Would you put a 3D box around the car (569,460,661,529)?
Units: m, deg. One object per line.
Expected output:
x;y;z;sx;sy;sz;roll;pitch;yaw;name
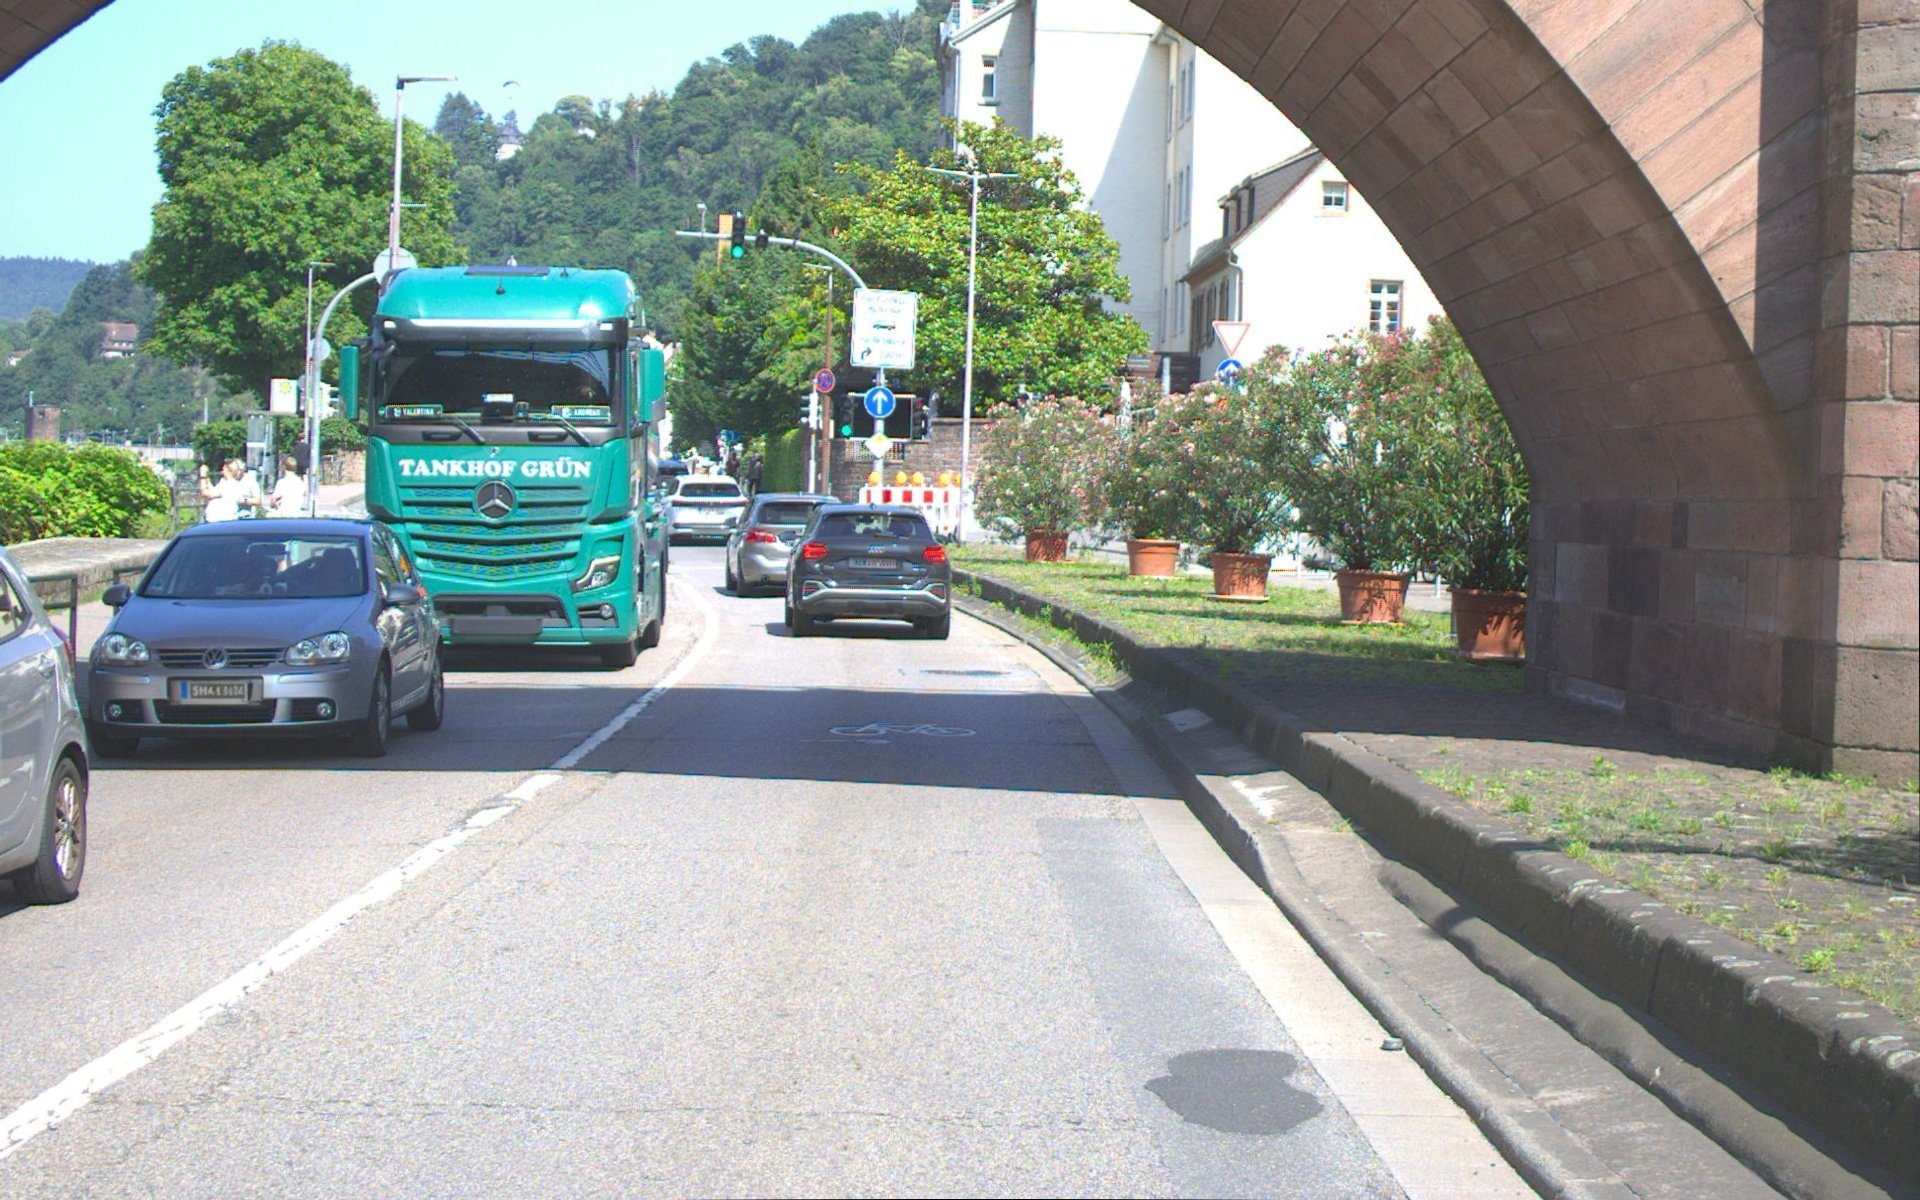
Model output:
-9.085;-2.752;90.217;1.993;1.656;4.001;2;0;-11;car

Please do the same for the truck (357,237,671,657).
-4.249;-1.490;33.867;2.523;3.735;6.247;0;2;-2;truck

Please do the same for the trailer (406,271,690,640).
-4.539;-1.627;39.881;2.523;3.631;11.533;1;2;-3;trailer

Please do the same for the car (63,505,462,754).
-4.358;0.121;22.098;1.723;1.432;4.401;0;1;-1;car

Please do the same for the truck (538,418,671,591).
-7.202;-1.991;68.986;2.375;3.250;7.614;-1;3;-8;truck

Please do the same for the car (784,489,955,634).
-1.028;-0.491;39.894;1.857;1.518;4.001;1;2;-1;car

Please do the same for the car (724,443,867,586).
-2.449;-1.246;51.339;1.993;2.007;4.000;1;1;-3;car

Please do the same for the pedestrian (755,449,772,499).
-6.407;-4.093;112.012;0.455;1.600;0.579;2;1;-6;pedestrian

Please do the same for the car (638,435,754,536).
-5.670;-2.424;73.441;1.993;2.007;4.001;2;1;-10;car

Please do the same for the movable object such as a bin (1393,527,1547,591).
9.459;-0.757;63.682;2.948;1.106;1.258;0;3;-44;movable object such as a bin

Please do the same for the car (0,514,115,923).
-4.116;0.413;11.816;1.534;1.432;3.728;0;1;-1;car
